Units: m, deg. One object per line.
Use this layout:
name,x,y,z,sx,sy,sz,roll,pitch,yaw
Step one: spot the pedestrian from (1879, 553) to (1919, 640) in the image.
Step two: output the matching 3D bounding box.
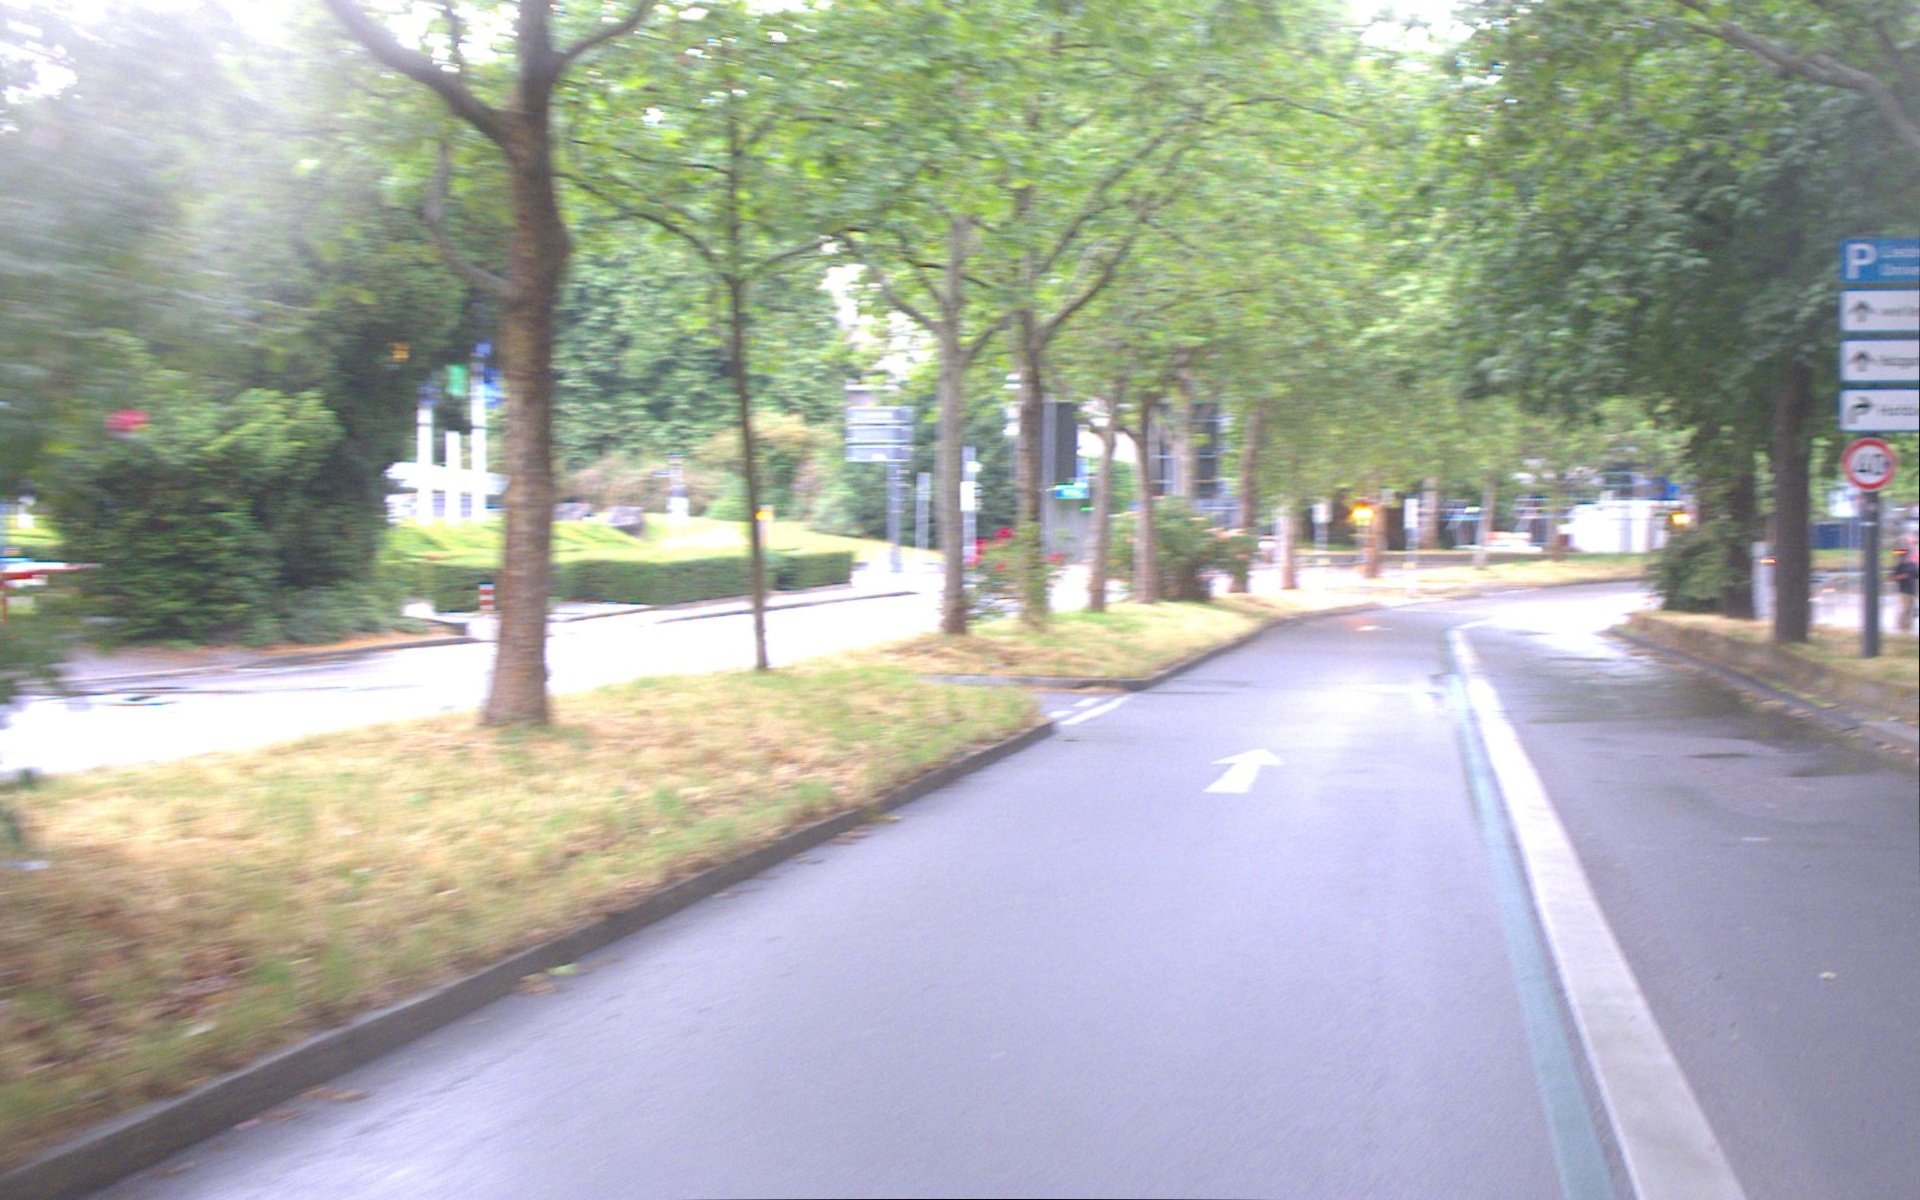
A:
pedestrian,17.996,-0.075,65.631,0.703,1.633,0.934,1,1,6

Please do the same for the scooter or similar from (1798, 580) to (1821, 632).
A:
scooter or similar,17.086,0.109,69.161,0.292,1.022,1.065,1,1,6
